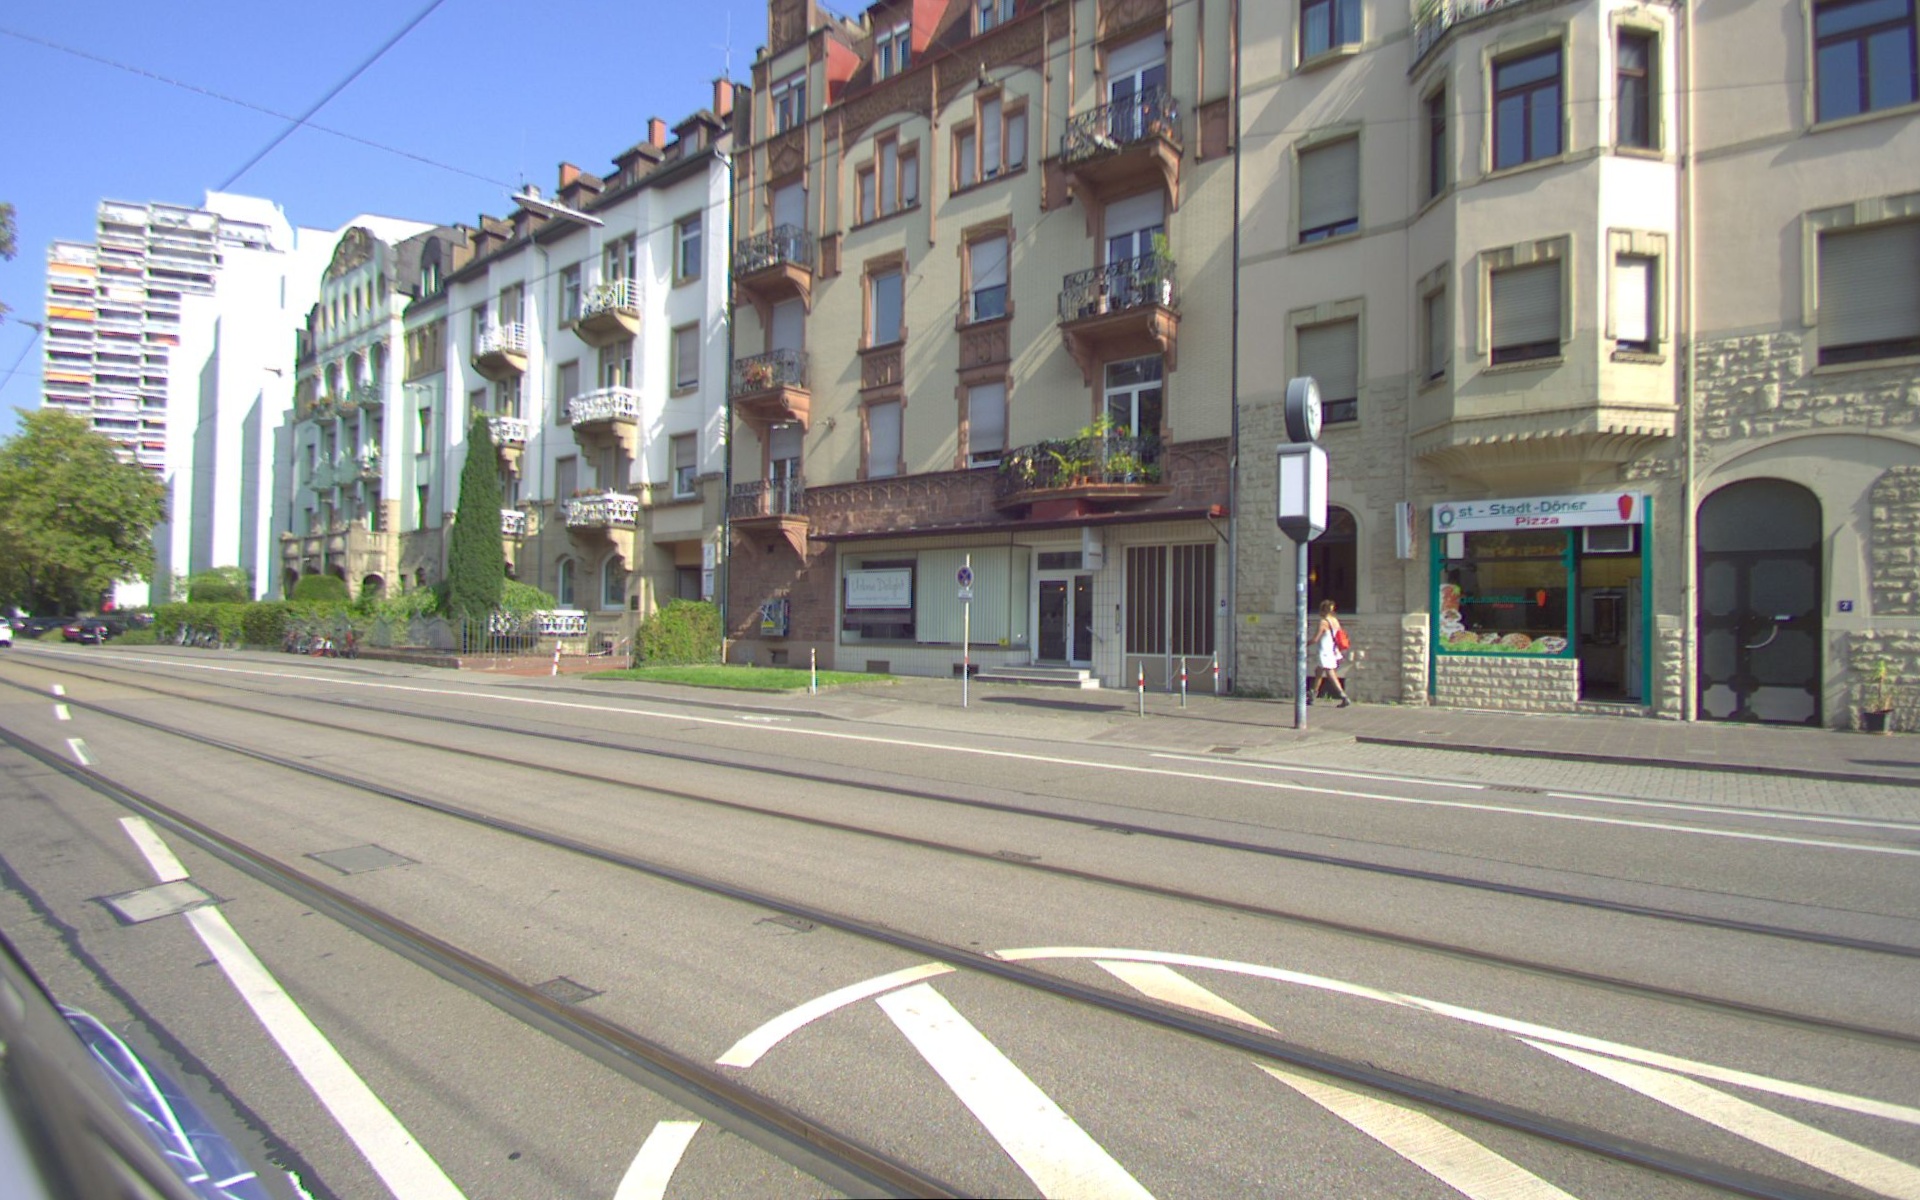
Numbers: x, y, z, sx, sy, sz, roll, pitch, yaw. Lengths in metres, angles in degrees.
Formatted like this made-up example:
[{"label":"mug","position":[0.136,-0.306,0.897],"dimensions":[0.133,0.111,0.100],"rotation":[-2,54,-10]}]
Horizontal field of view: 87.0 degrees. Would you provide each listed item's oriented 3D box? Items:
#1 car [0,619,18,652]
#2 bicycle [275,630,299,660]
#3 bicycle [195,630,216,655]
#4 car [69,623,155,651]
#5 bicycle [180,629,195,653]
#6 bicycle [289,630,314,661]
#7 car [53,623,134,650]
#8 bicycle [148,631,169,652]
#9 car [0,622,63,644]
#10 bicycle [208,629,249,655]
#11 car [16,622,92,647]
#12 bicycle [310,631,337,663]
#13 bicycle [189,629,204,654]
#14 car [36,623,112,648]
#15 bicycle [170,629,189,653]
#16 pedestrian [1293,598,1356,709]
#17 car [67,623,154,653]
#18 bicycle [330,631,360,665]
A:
[{"label":"car","position":[-45.348,1.612,46.764],"dimensions":[4.537,1.466,1.854],"rotation":[-1,-5,37]},{"label":"bicycle","position":[-25.278,1.690,38.014],"dimensions":[1.354,1.096,0.366],"rotation":[-1,-3,40]},{"label":"bicycle","position":[-33.048,1.860,44.320],"dimensions":[1.677,1.096,0.419],"rotation":[-1,-3,44]},{"label":"car","position":[-48.625,2.103,58.114],"dimensions":[1.746,1.539,4.003],"rotation":[1,-2,-4]},{"label":"bicycle","position":[-35.259,1.876,46.202],"dimensions":[0.419,1.096,1.679],"rotation":[3,-3,-41]},{"label":"bicycle","position":[-23.963,1.654,36.830],"dimensions":[1.354,1.096,0.366],"rotation":[-1,-3,40]},{"label":"car","position":[-51.008,2.136,59.692],"dimensions":[1.744,1.539,4.007],"rotation":[1,-2,-9]},{"label":"bicycle","position":[-39.324,2.044,49.662],"dimensions":[1.768,0.985,0.420],"rotation":[-1,-3,39]},{"label":"car","position":[-65.984,2.335,71.640],"dimensions":[1.744,1.539,4.007],"rotation":[1,-2,-9]},{"label":"bicycle","position":[-31.891,1.835,44.140],"dimensions":[0.423,1.096,1.385],"rotation":[0,-2,22]},{"label":"car","position":[-59.098,2.251,66.090],"dimensions":[1.744,1.539,4.007],"rotation":[1,-2,-9]},{"label":"bicycle","position":[-21.971,1.614,34.914],"dimensions":[1.354,1.096,0.366],"rotation":[-1,-3,40]},{"label":"bicycle","position":[-34.548,1.880,45.792],"dimensions":[0.419,1.096,1.679],"rotation":[3,-3,-41]},{"label":"car","position":[-56.567,2.255,64.672],"dimensions":[1.744,1.539,4.007],"rotation":[1,-2,-9]},{"label":"bicycle","position":[-36.712,1.905,47.598],"dimensions":[1.676,1.096,0.420],"rotation":[-1,-3,43]},{"label":"pedestrian","position":[6.341,0.912,17.606],"dimensions":[0.829,1.874,0.766],"rotation":[-1,-3,38]},{"label":"car","position":[-46.183,2.065,55.131],"dimensions":[1.744,1.539,4.007],"rotation":[1,-2,-9]},{"label":"bicycle","position":[-20.565,1.599,33.831],"dimensions":[1.486,1.096,0.366],"rotation":[-1,-3,40]}]
